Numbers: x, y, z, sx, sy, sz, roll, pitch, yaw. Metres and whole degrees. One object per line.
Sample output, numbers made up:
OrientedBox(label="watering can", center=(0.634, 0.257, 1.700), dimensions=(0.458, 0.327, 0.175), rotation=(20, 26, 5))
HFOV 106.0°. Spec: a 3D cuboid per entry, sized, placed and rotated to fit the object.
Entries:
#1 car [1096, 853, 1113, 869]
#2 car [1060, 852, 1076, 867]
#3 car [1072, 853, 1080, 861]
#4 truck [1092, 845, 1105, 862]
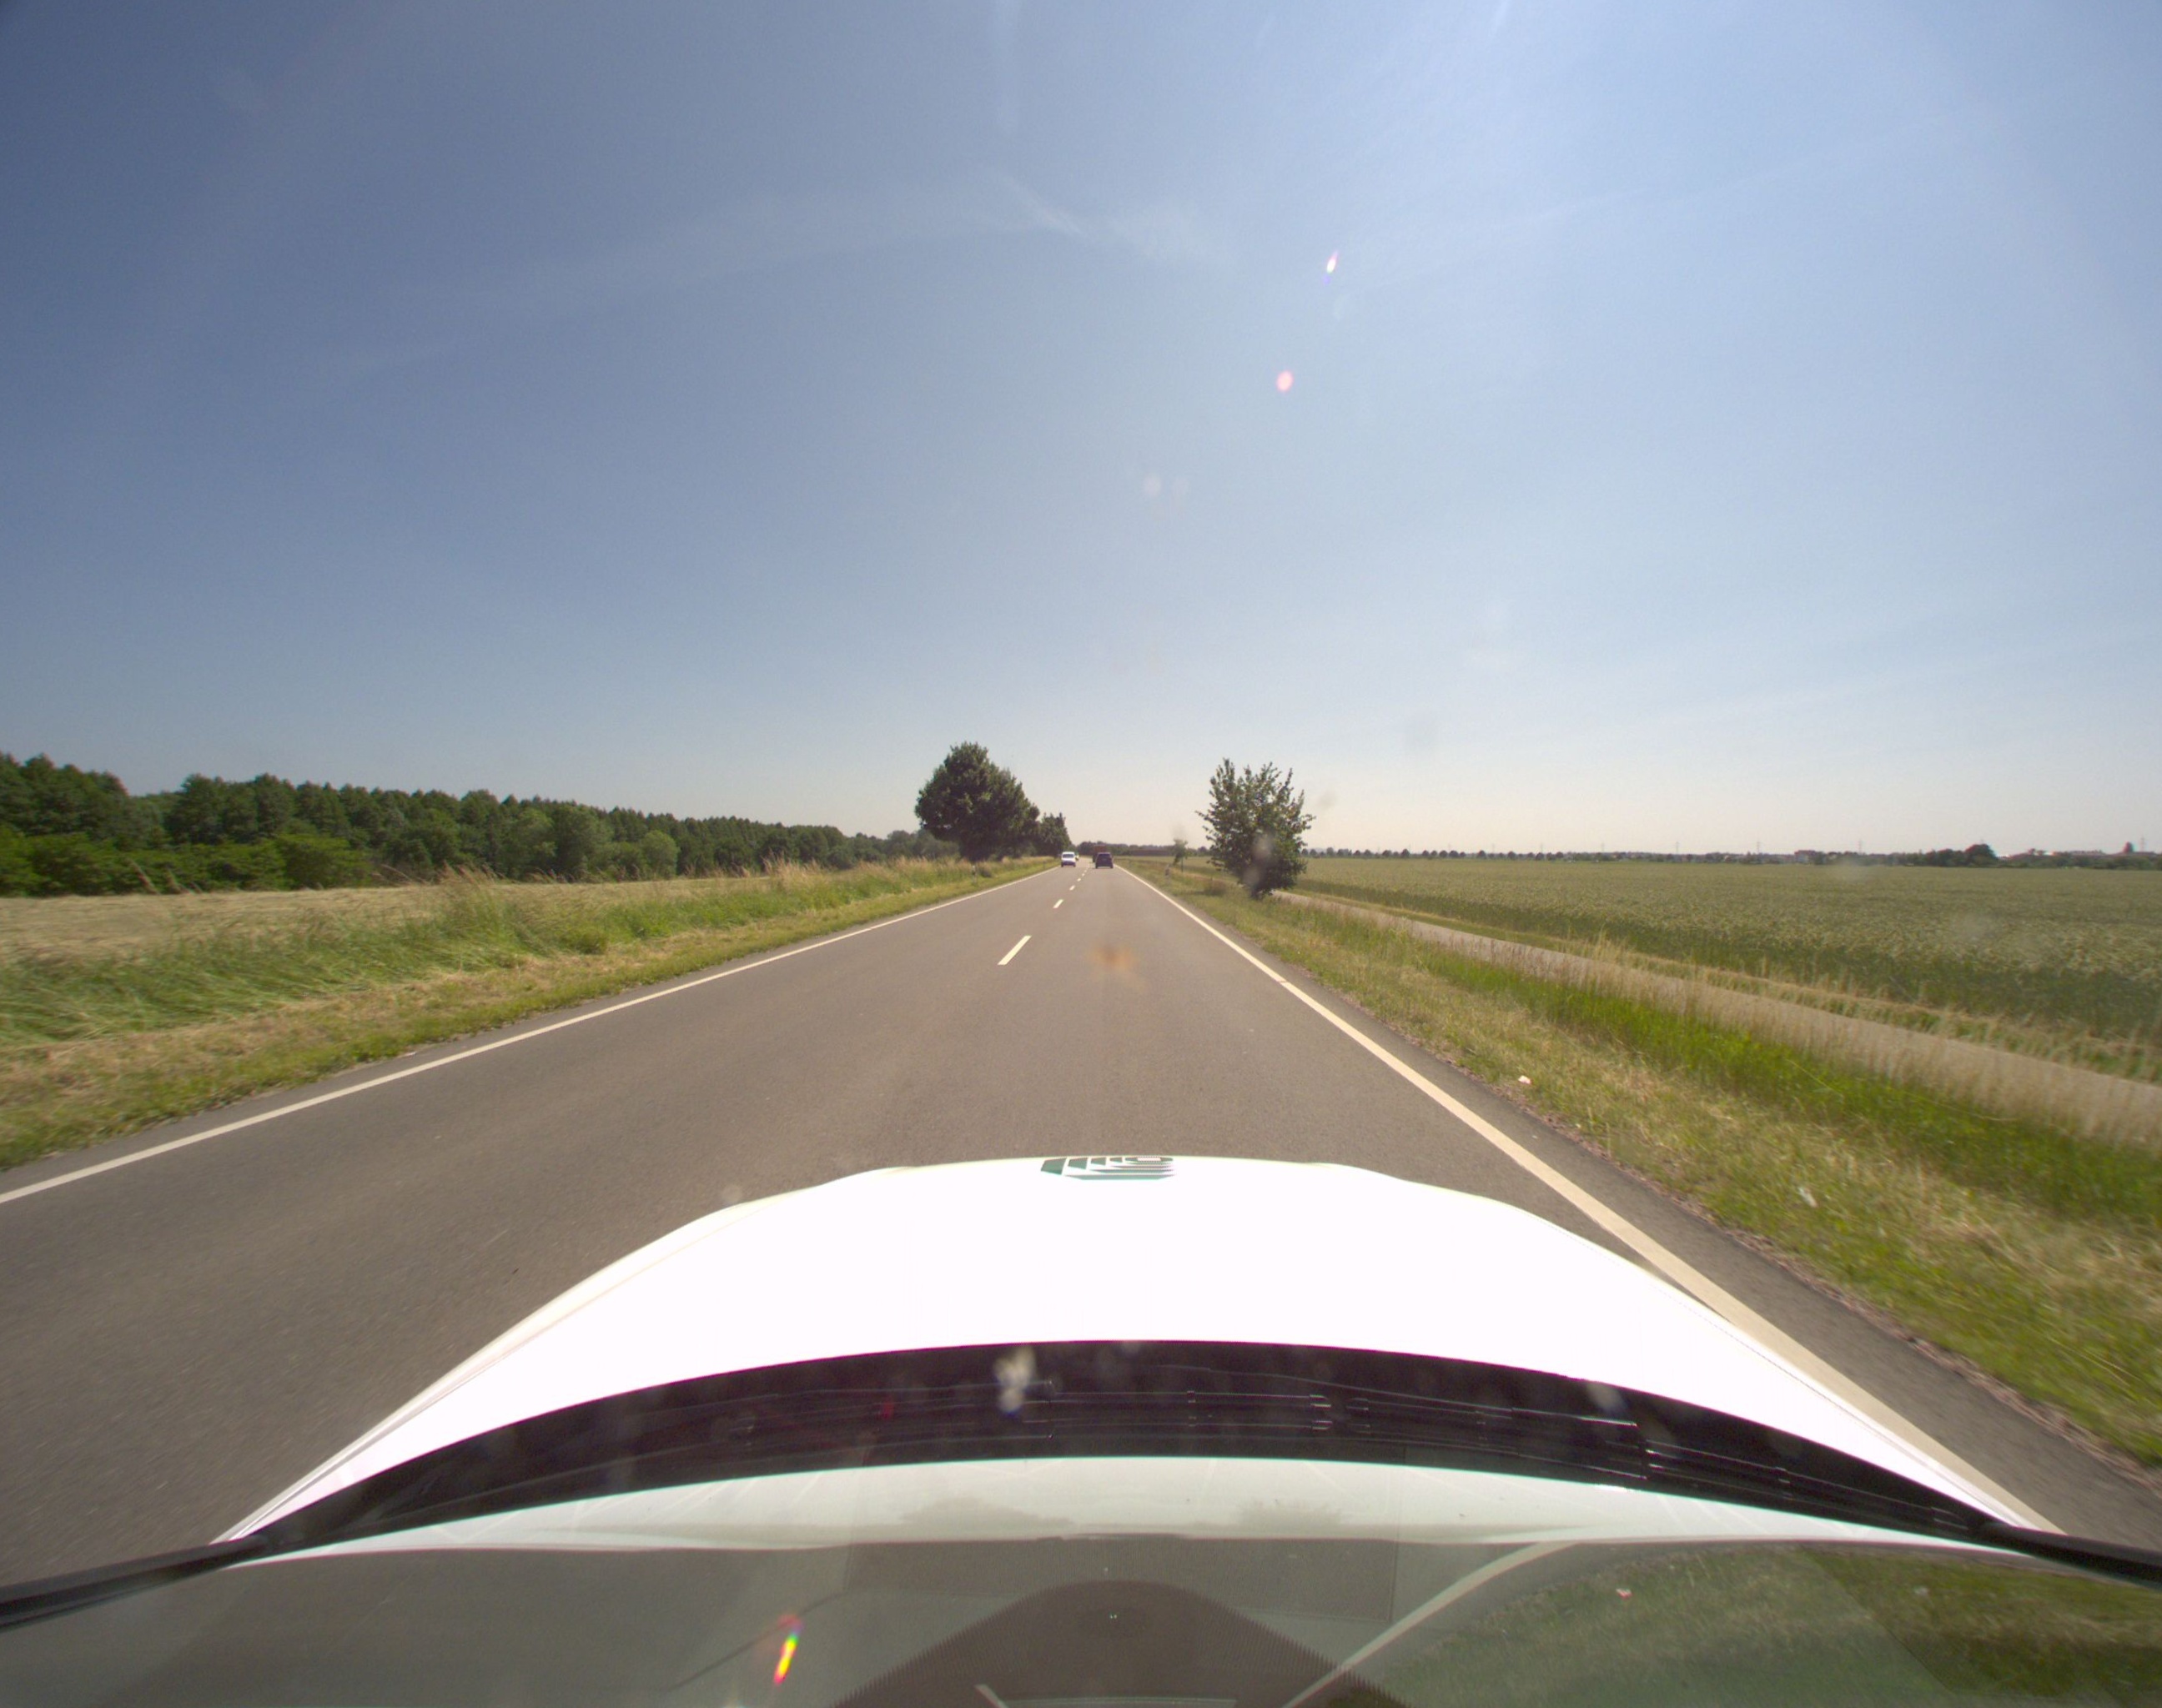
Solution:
OrientedBox(label="car", center=(2.514, 0.752, 87.293), dimensions=(1.707, 1.694, 3.991), rotation=(0, 0, 3))
OrientedBox(label="car", center=(-1.544, 0.634, 98.986), dimensions=(1.780, 1.728, 4.306), rotation=(0, 0, 2))
OrientedBox(label="car", center=(-1.153, 0.612, 184.326), dimensions=(1.720, 1.840, 3.999), rotation=(0, 0, 0))
OrientedBox(label="truck", center=(3.163, -0.060, 147.744), dimensions=(2.362, 3.140, 8.748), rotation=(0, 0, 1))
